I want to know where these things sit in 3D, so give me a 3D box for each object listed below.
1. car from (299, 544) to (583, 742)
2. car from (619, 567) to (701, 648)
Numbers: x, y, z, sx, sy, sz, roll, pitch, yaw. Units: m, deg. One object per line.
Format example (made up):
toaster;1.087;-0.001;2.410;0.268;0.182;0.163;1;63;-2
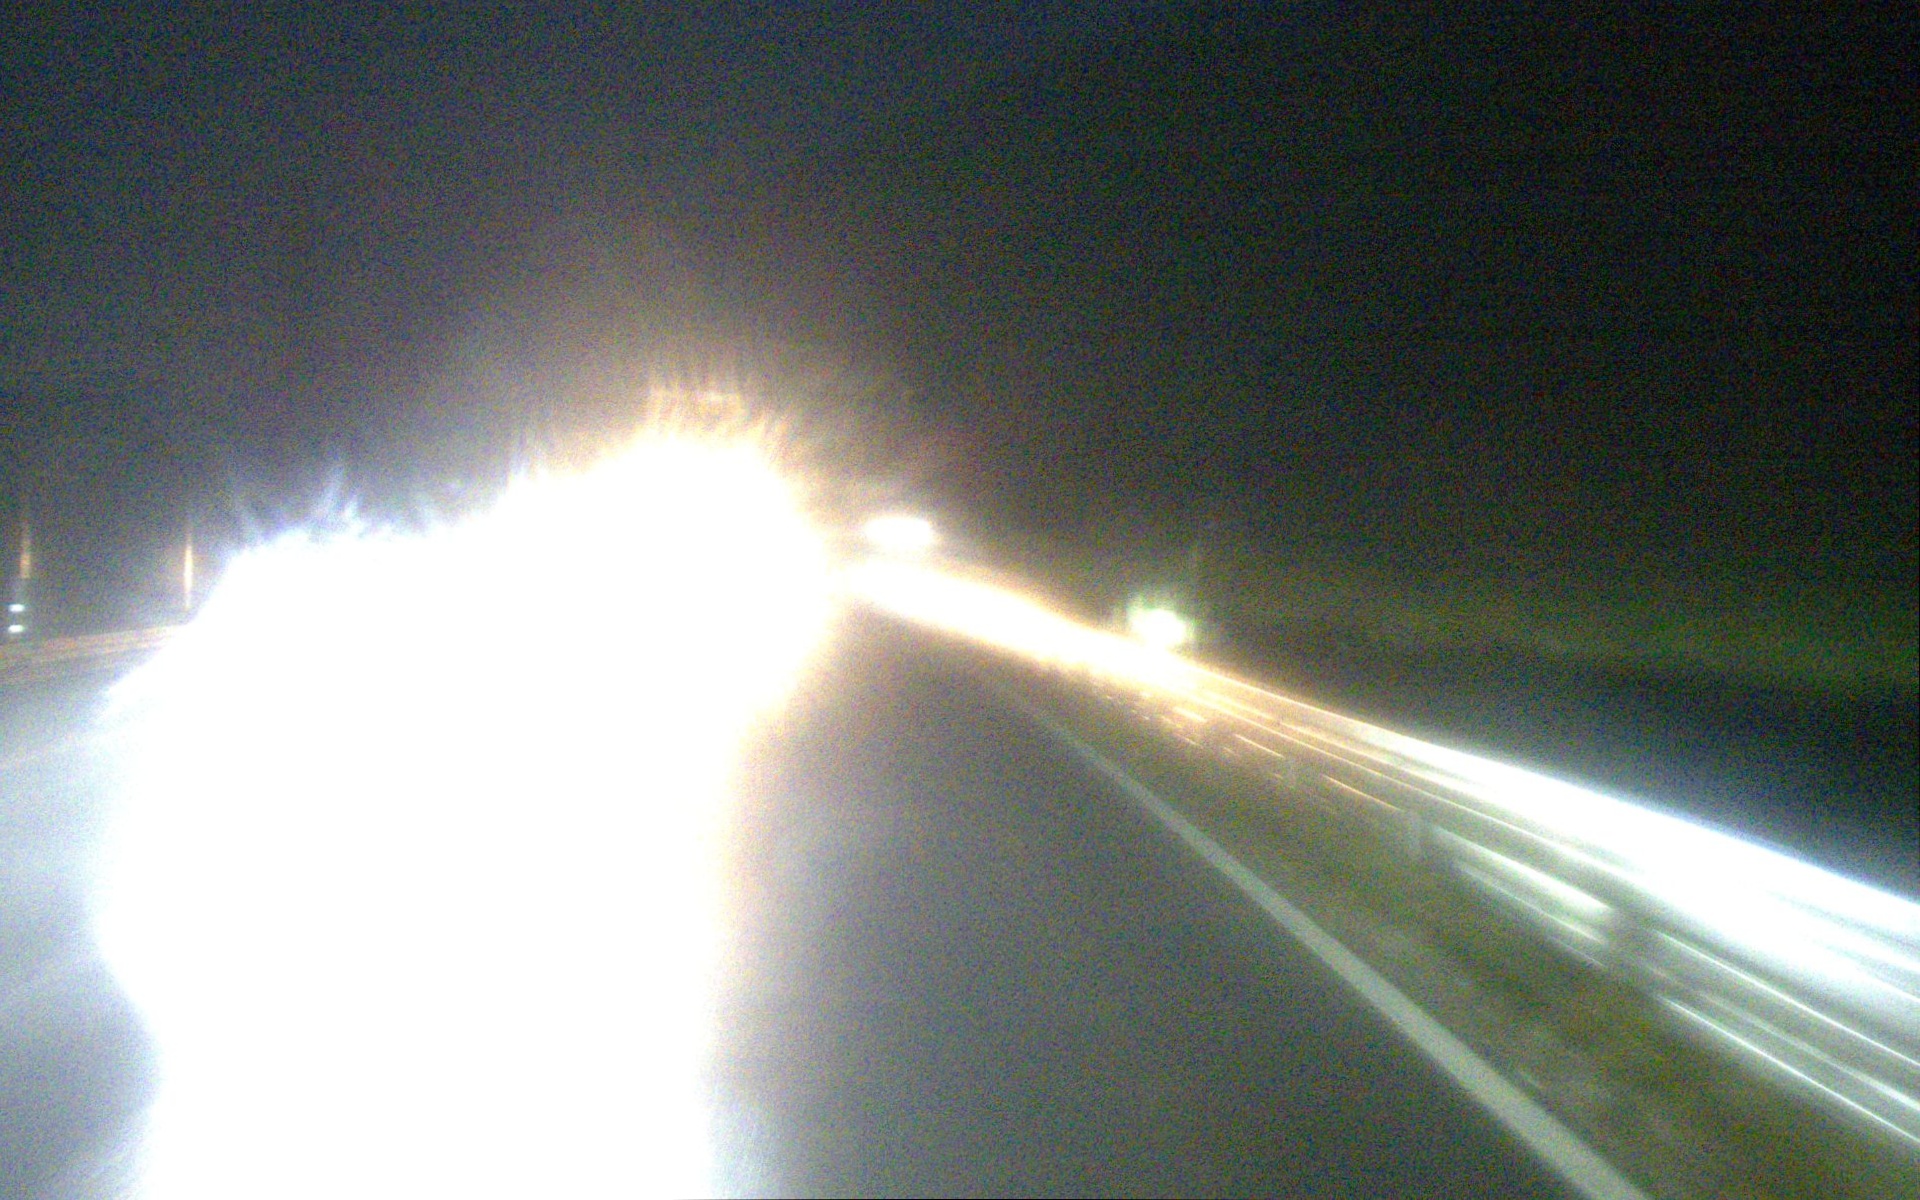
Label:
car;-4.139;0.294;27.973;1.832;1.478;4.070;0;1;-2
car;-7.217;0.156;82.979;1.832;1.864;4.430;0;1;-3
